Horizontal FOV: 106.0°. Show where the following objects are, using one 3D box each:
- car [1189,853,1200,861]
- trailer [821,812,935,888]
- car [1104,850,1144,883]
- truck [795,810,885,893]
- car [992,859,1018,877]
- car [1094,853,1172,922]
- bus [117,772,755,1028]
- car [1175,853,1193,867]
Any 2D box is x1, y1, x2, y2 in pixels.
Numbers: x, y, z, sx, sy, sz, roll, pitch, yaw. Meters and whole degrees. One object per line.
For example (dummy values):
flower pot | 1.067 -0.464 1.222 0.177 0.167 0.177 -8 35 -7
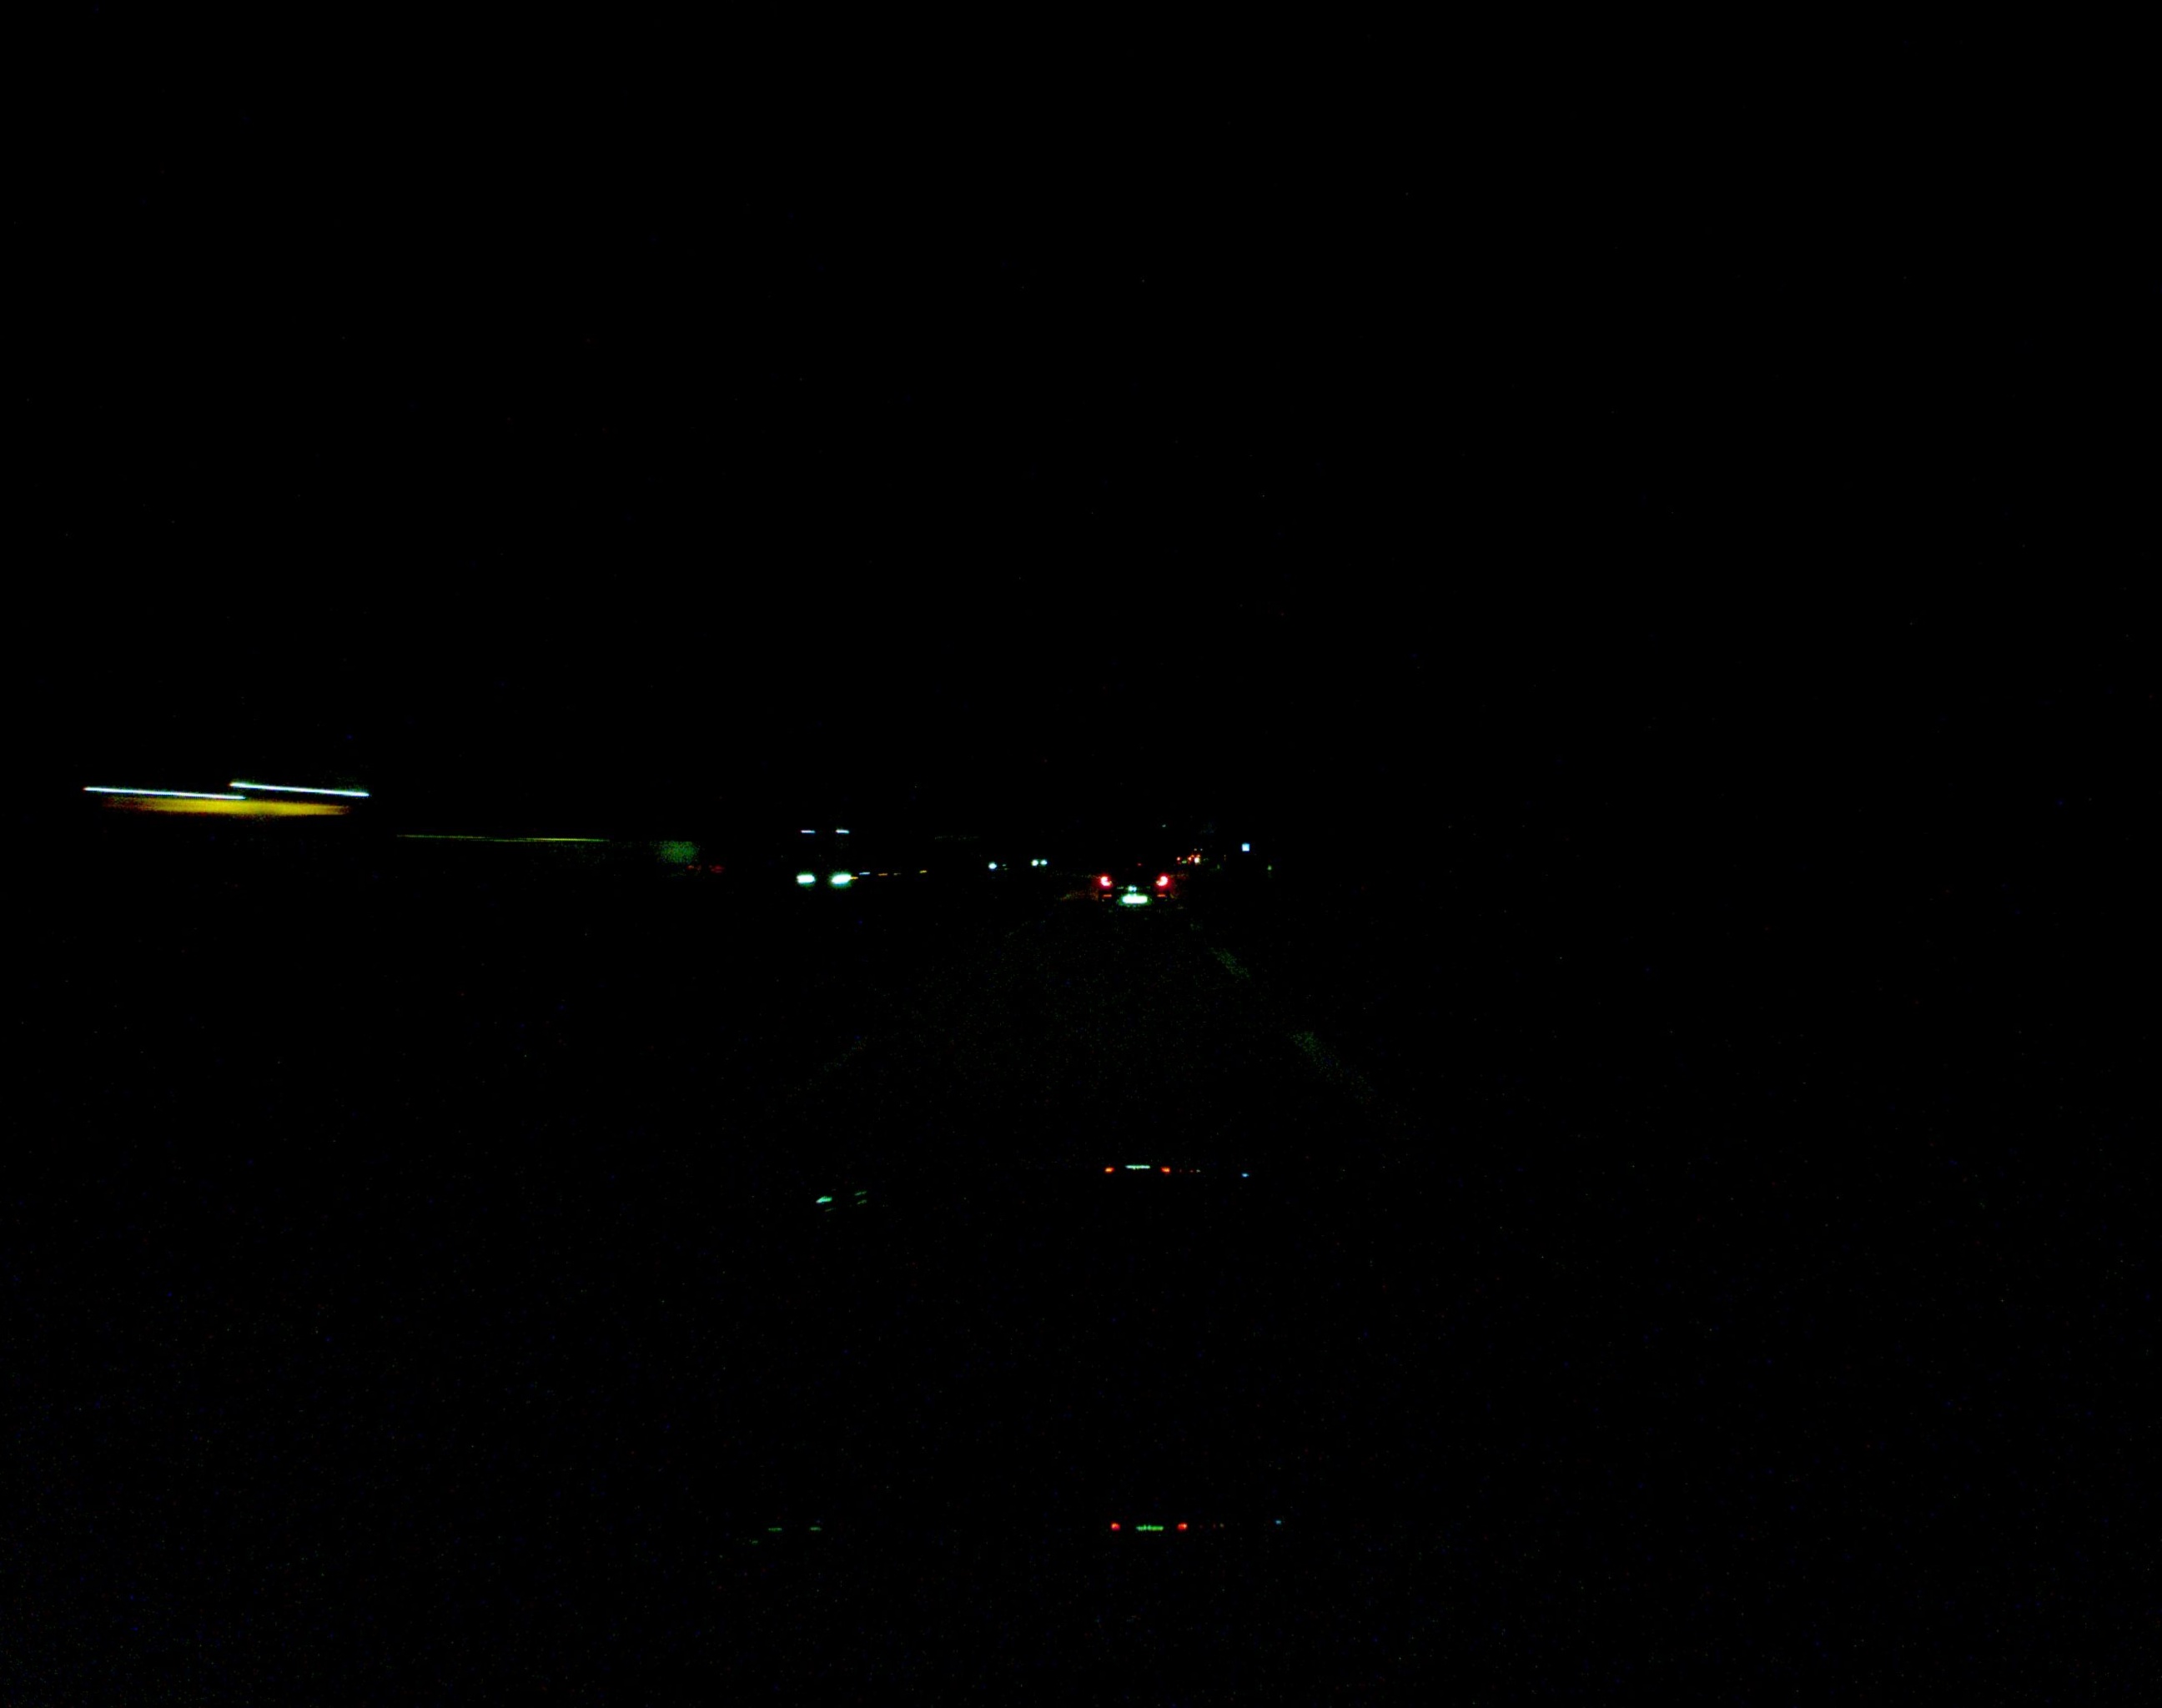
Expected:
car | 23.898 0.647 171.815 1.943 1.538 4.245 -6 -2 4
trailer | -12.449 -0.259 51.795 2.664 4.149 13.762 -2 0 4
car | 2.196 0.604 41.975 1.932 1.608 4.646 -1 0 2
truck | -13.038 -0.155 44.610 2.664 4.177 5.875 -2 0 4
car | -7.915 1.433 84.925 1.984 1.684 4.006 -2 0 5
car | 1.249 0.736 19.836 1.684 1.478 4.003 -1 0 3
bus | -11.177 0.561 17.124 2.911 3.387 12.320 -1 1 4
car | 12.391 0.708 98.490 1.727 1.618 3.799 -1 0 1
